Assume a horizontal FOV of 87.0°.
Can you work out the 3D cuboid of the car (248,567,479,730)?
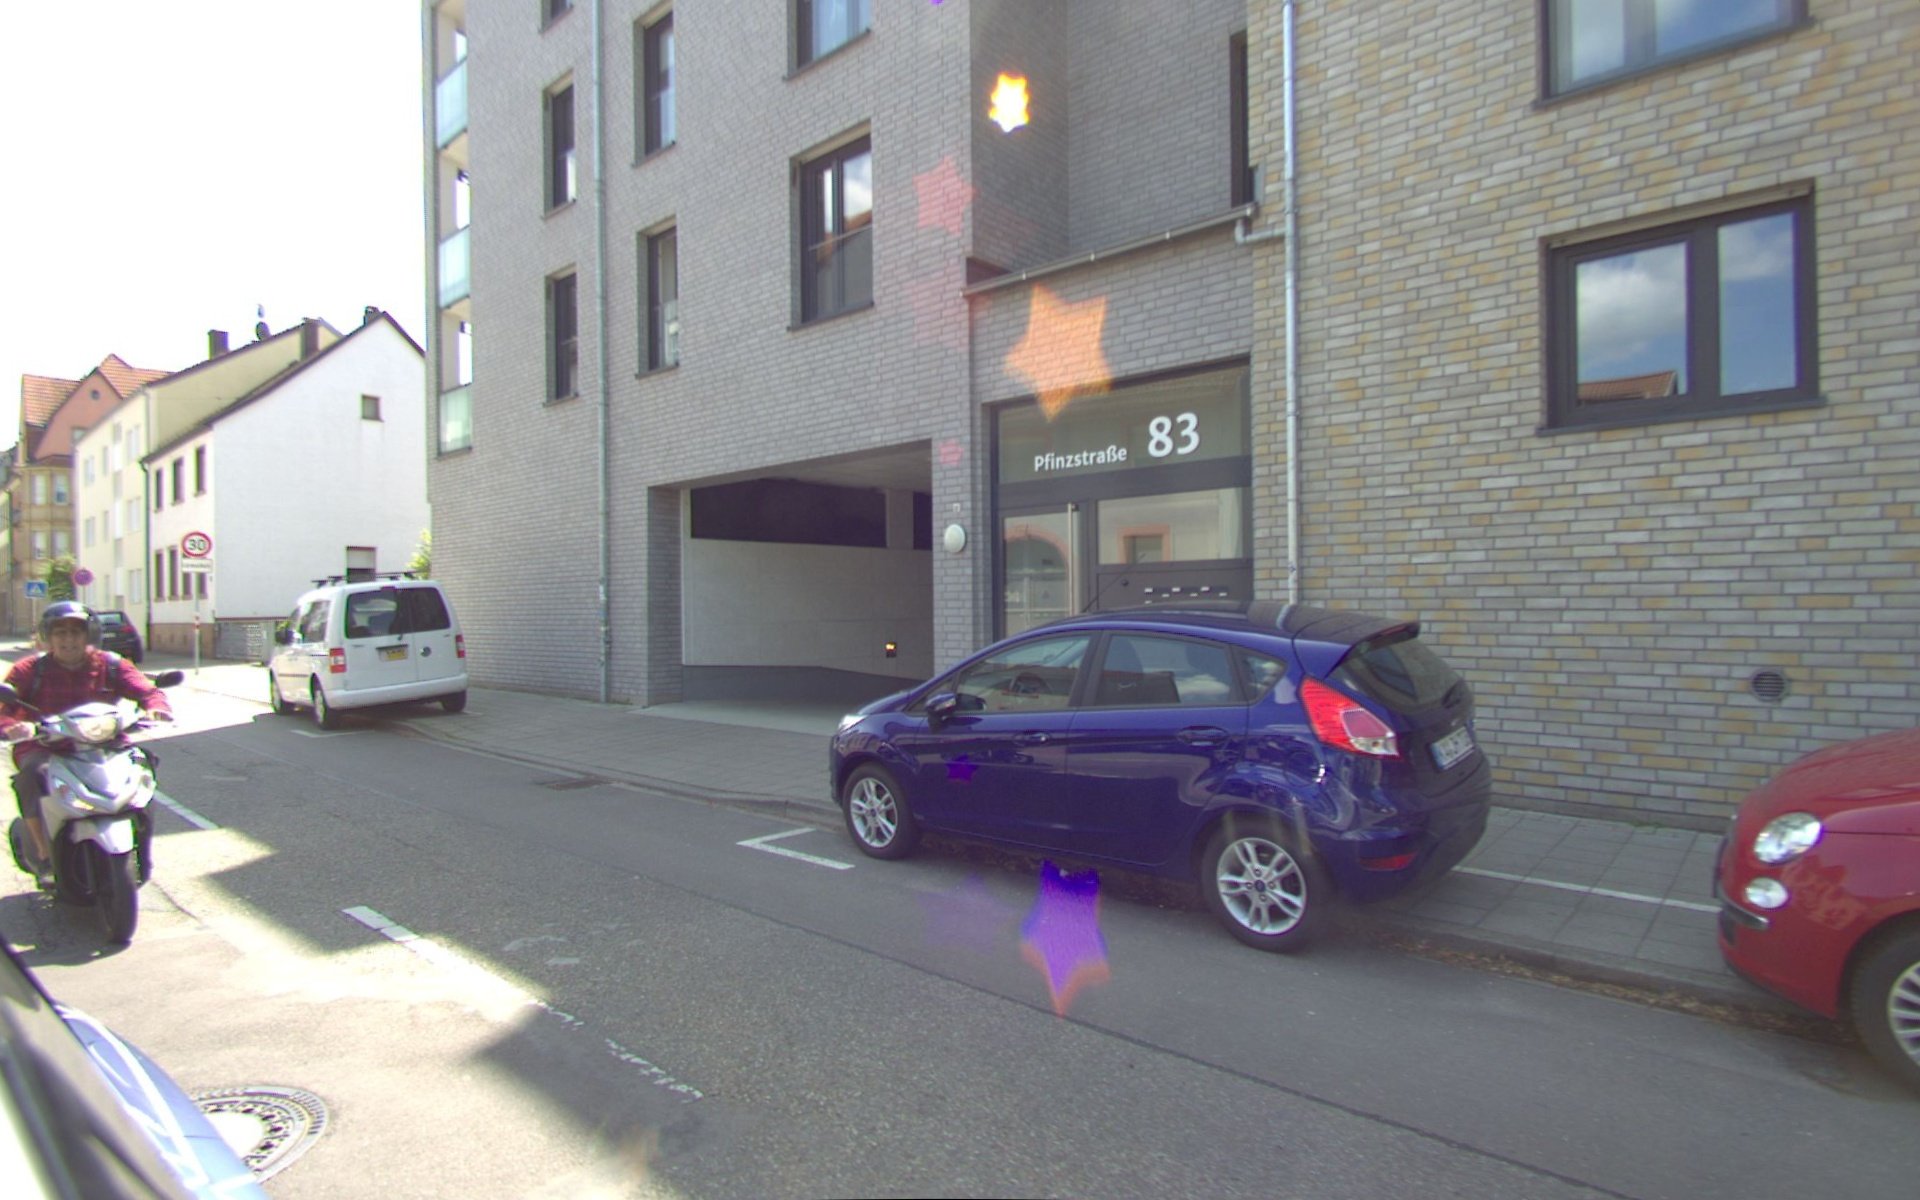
[{"bbox_3d":[-8.519,0.599,14.276,1.737,1.906,4.339,-4,2,-44],"label":"car"}]

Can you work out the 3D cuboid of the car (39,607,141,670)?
[{"bbox_3d":[-25.471,1.079,29.604,3.944,1.659,1.775,-1,1,42],"label":"car"}]

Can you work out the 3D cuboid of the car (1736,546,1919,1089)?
[{"bbox_3d":[4.305,0.596,2.603,3.569,1.565,1.574,-1,0,41],"label":"car"}]

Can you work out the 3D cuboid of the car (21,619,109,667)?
[{"bbox_3d":[-29.160,1.342,32.938,4.291,1.427,1.813,-1,0,44],"label":"car"}]

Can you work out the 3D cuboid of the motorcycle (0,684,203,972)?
[{"bbox_3d":[-4.500,1.018,5.071,1.991,1.063,0.750,-2,0,42],"label":"motorcycle"}]

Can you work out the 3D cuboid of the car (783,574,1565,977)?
[{"bbox_3d":[0.929,0.654,5.719,4.005,1.467,1.704,-1,1,43],"label":"car"}]

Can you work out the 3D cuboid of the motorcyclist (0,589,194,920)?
[{"bbox_3d":[-4.428,0.691,5.033,1.020,1.451,0.782,-2,0,42],"label":"motorcyclist"}]
